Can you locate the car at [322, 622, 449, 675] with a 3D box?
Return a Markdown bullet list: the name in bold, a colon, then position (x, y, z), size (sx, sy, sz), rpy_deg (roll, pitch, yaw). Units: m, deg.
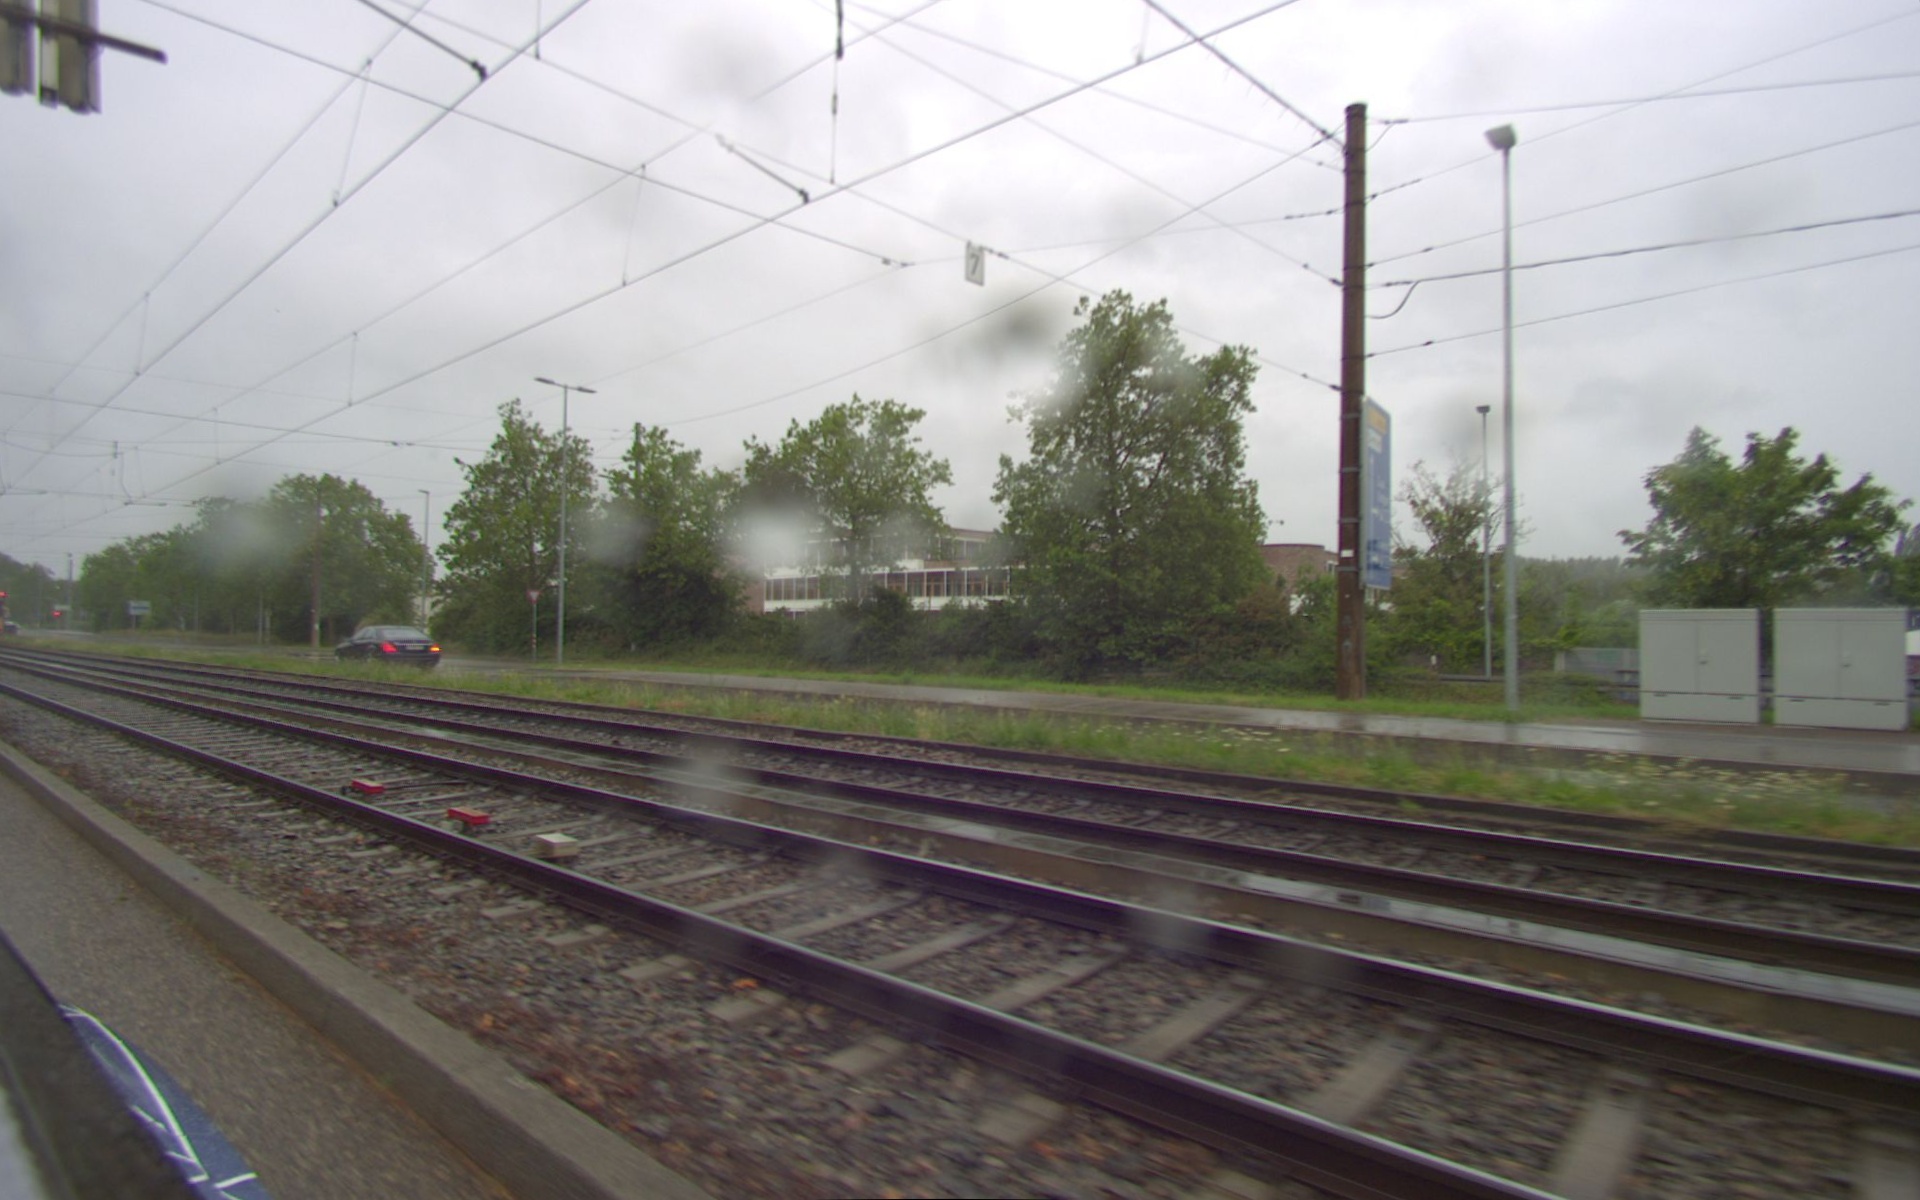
- **car**: position (-18.477, 1.485, 32.445), size (4.953, 1.534, 1.973), rpy_deg (-1, 0, 40)
